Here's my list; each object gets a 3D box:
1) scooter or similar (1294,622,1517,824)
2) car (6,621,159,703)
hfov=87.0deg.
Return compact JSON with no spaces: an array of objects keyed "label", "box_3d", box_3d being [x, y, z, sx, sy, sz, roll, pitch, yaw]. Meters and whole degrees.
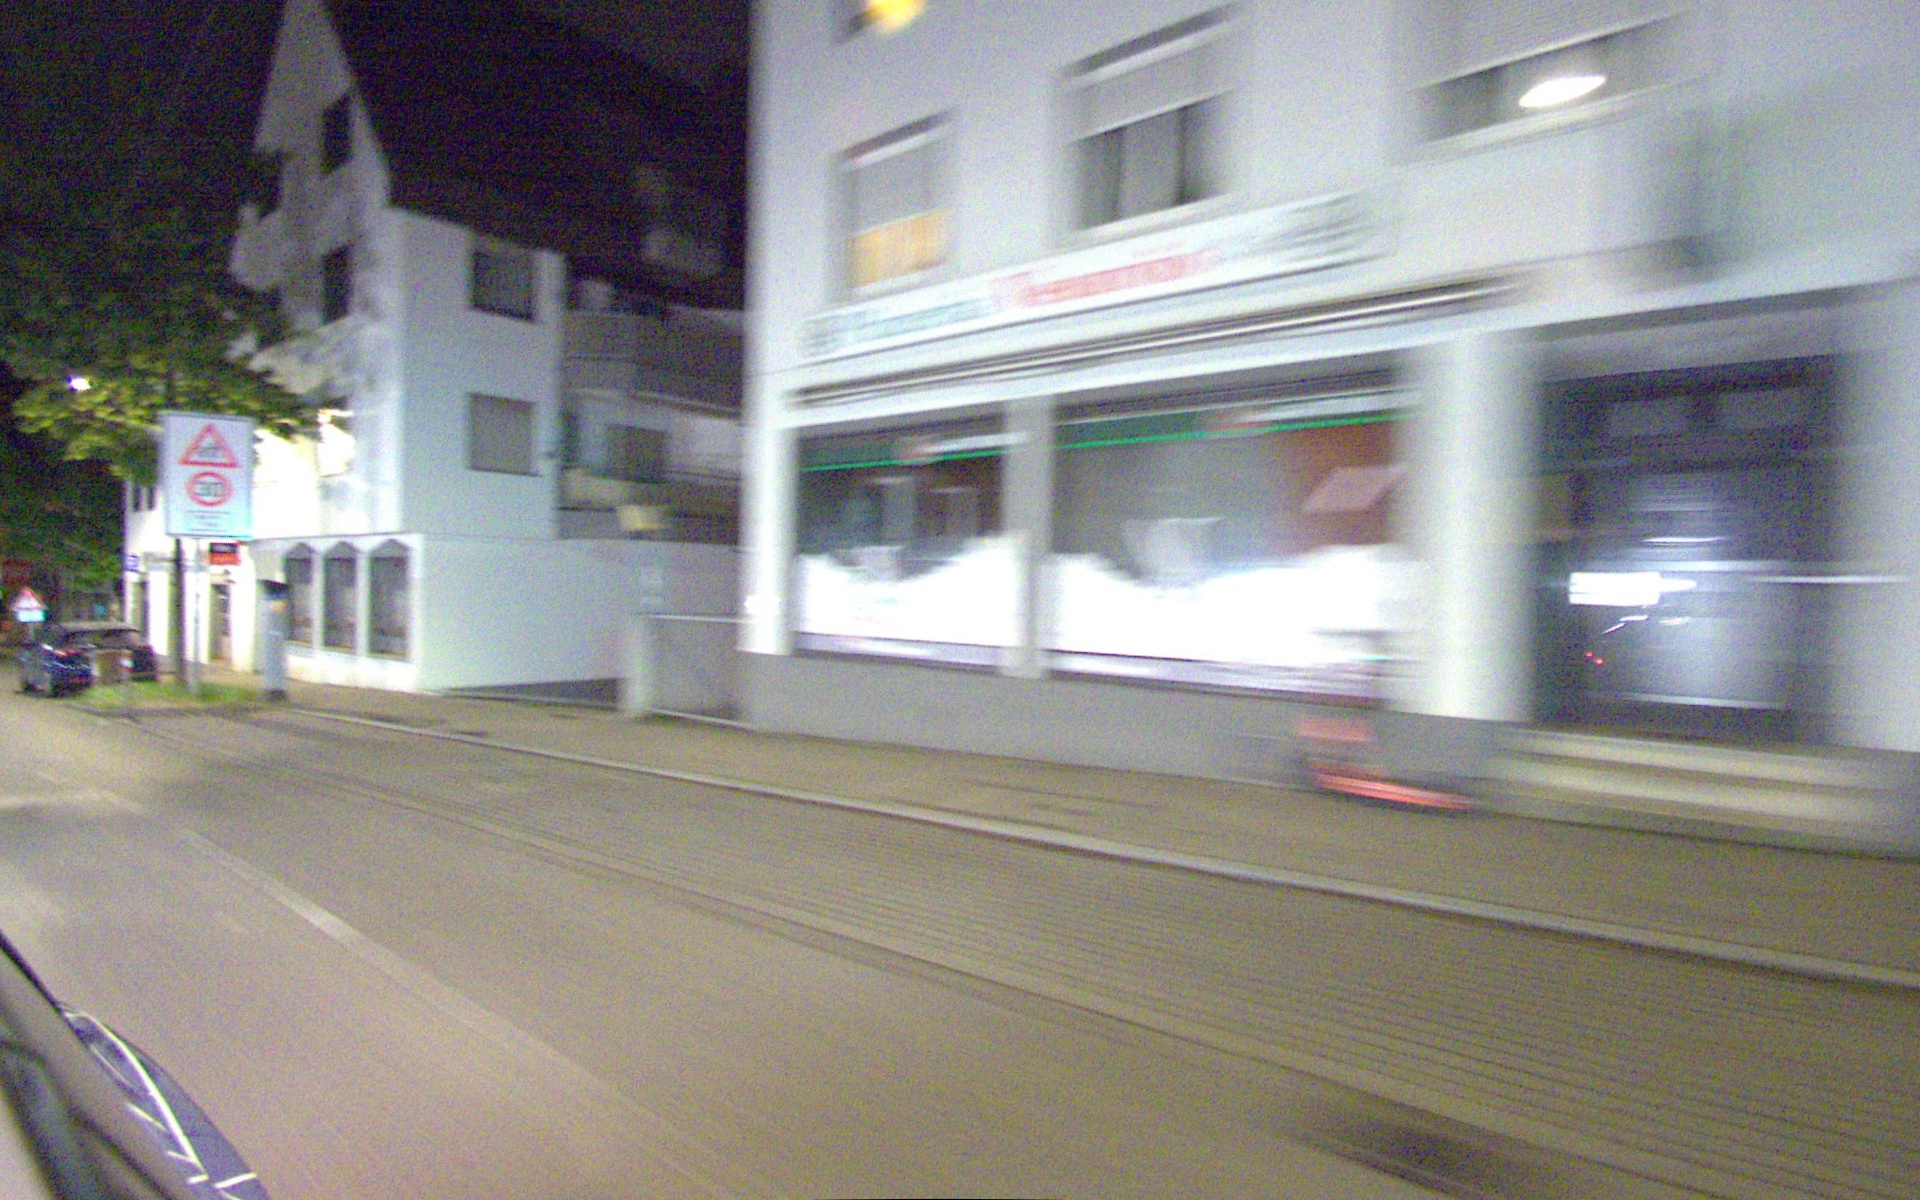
[{"label":"scooter or similar","box_3d":[2.981,0.775,6.848,1.335,1.235,0.328,-1,0,42]},{"label":"car","box_3d":[-18.468,1.221,21.239,4.286,1.497,1.710,-1,0,39]}]
